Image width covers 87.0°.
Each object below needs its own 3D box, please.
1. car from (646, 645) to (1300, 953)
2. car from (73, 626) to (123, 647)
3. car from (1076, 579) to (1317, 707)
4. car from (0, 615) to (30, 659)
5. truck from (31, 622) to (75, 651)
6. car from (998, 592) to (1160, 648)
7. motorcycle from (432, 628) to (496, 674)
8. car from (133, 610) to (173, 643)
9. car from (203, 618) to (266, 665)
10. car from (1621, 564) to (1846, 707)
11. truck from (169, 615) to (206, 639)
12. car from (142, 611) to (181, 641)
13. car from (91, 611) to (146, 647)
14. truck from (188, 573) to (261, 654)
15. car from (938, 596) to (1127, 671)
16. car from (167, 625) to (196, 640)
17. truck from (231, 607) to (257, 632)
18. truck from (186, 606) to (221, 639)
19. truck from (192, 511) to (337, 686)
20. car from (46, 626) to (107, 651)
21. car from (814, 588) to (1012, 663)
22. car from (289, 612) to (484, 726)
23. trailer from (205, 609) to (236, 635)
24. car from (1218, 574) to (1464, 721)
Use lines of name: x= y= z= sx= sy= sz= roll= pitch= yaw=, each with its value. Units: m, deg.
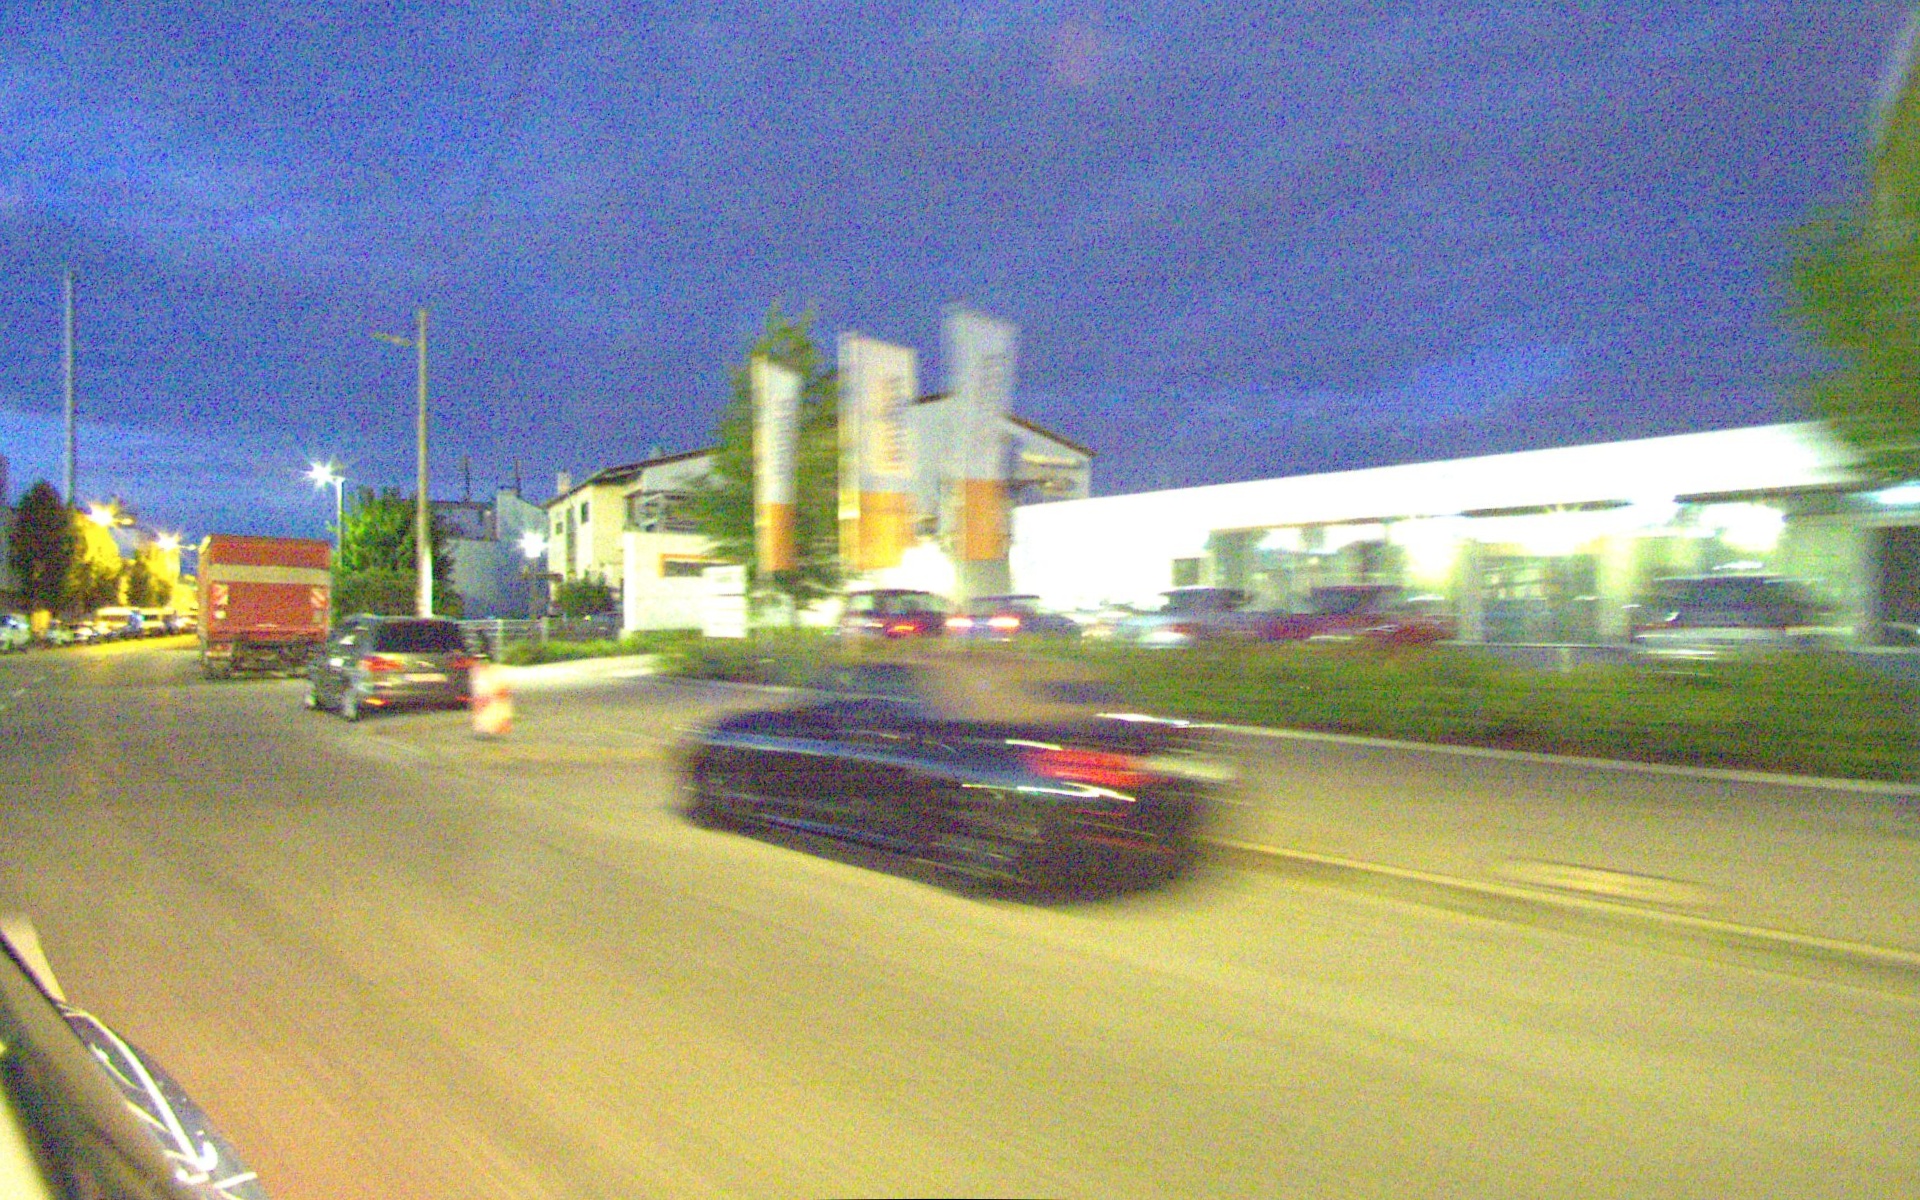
car: x=-0.157 y=1.034 z=6.909 sx=4.358 sy=1.382 sz=1.795 roll=-2 pitch=-2 yaw=41
car: x=-59.993 y=2.508 z=70.514 sx=1.745 sy=1.423 sz=4.564 roll=0 pitch=-1 yaw=-29
car: x=4.051 y=0.629 z=16.812 sx=1.962 sy=1.829 sz=4.558 roll=-2 pitch=-1 yaw=42
car: x=-46.446 y=1.744 z=48.387 sx=1.966 sy=2.029 sz=4.926 roll=1 pitch=-1 yaw=-31
truck: x=-54.260 y=2.170 z=60.592 sx=1.351 sy=1.657 sz=3.823 roll=0 pitch=-1 yaw=-32
car: x=3.417 y=0.576 z=29.609 sx=4.465 sy=1.468 sz=1.881 roll=-2 pitch=0 yaw=44
motorcycle: x=-13.634 y=1.392 z=27.861 sx=0.527 sy=1.109 sz=1.682 roll=0 pitch=2 yaw=20
car: x=-70.283 y=2.311 z=88.227 sx=2.100 sy=2.590 sz=5.924 roll=-3 pitch=0 yaw=-34
car: x=-28.861 y=1.592 z=40.300 sx=1.918 sy=1.730 sz=5.211 roll=0 pitch=-1 yaw=-35
car: x=9.387 y=0.356 z=12.143 sx=1.827 sy=1.404 sz=4.221 roll=-1 pitch=-1 yaw=42
truck: x=-86.003 y=3.018 z=112.781 sx=2.368 sy=2.614 sz=6.617 roll=-1 pitch=-1 yaw=-30
car: x=-74.279 y=2.441 z=94.205 sx=1.966 sy=2.590 sz=6.031 roll=-3 pitch=0 yaw=-31
car: x=-63.315 y=2.153 z=76.229 sx=1.966 sy=2.544 sz=5.927 roll=-3 pitch=0 yaw=-29
truck: x=-39.941 y=0.760 z=55.209 sx=2.709 sy=4.064 sz=9.586 roll=0 pitch=-1 yaw=-33
car: x=1.674 y=0.660 z=22.035 sx=1.827 sy=1.463 sz=4.357 roll=-1 pitch=-1 yaw=42
car: x=-81.862 y=3.429 z=106.420 sx=1.805 sy=1.418 sz=4.922 roll=-3 pitch=1 yaw=-31
truck: x=-119.107 y=3.322 z=168.515 sx=2.752 sy=4.000 sz=9.848 roll=-2 pitch=-1 yaw=-31
truck: x=-90.796 y=2.650 z=121.528 sx=2.727 sy=3.792 sz=5.244 roll=-2 pitch=0 yaw=-31
truck: x=-19.785 y=0.051 z=28.500 sx=2.737 sy=4.151 sz=9.359 roll=0 pitch=-1 yaw=-38
car: x=-56.520 y=2.424 z=64.811 sx=1.919 sy=1.500 sz=5.026 roll=0 pitch=-1 yaw=-29
car: x=-0.946 y=0.522 z=22.501 sx=1.892 sy=1.493 sz=4.357 roll=-1 pitch=-1 yaw=42
car: x=-9.538 y=1.028 z=16.652 sx=1.844 sy=1.605 sz=4.499 roll=0 pitch=-1 yaw=-42
trailer: x=-105.725 y=3.203 z=144.706 sx=2.838 sy=3.551 sz=8.308 roll=0 pitch=-1 yaw=-31
car: x=5.738 y=0.625 z=14.929 sx=1.962 sy=1.829 sz=4.357 roll=-1 pitch=-1 yaw=42
